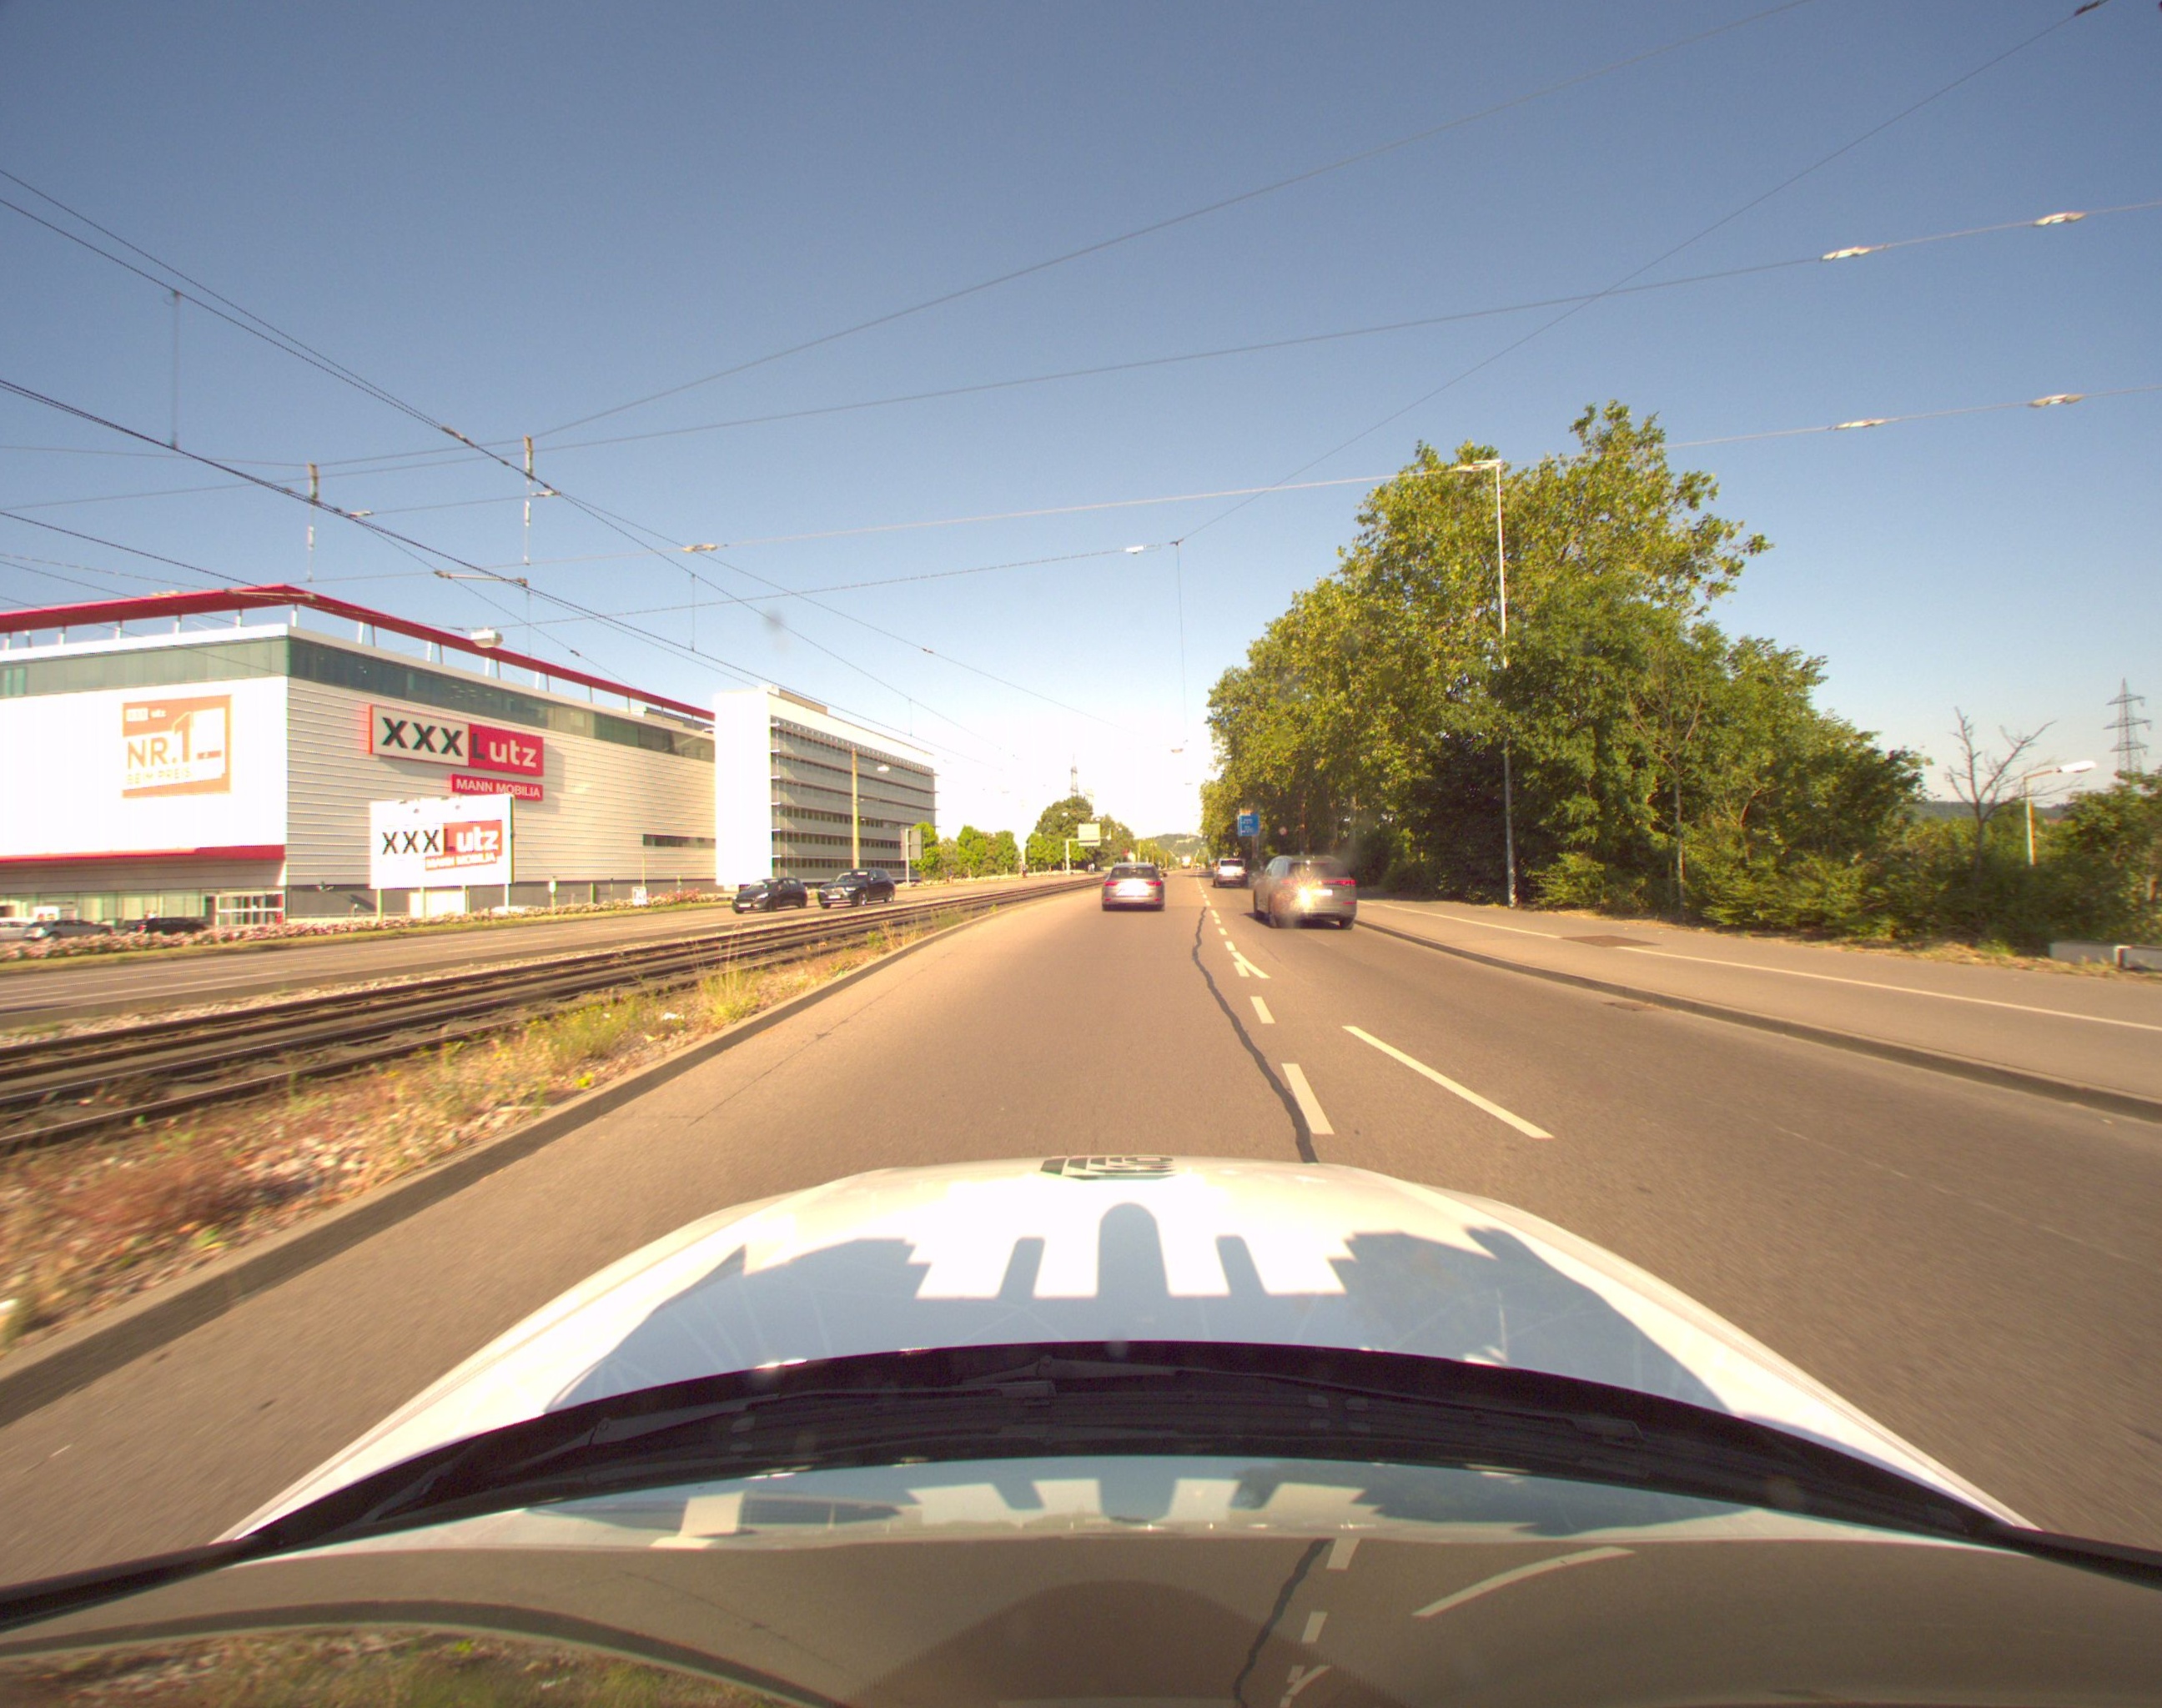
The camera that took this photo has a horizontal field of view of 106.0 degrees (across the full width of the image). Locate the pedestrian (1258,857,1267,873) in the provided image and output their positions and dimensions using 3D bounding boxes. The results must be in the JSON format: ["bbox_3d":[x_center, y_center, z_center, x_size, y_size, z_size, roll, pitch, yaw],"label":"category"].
[{"bbox_3d":[17.449,1.038,78.120,0.719,1.480,0.723,-2,-1,8],"label":"pedestrian"}]

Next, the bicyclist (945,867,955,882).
[{"bbox_3d":[-13.794,2.133,85.748,0.699,1.512,0.974,1,-1,15],"label":"bicyclist"}]

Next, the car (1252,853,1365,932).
[{"bbox_3d":[5.240,0.821,19.327,1.835,1.661,4.446,0,0,6],"label":"car"}]

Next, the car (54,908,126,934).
[{"bbox_3d":[-79.340,5.350,65.231,1.496,1.855,3.299,1,0,11],"label":"car"}]

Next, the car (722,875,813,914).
[{"bbox_3d":[-13.333,1.692,34.940,1.847,1.461,4.145,-2,-1,7],"label":"car"}]

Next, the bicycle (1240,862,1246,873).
[{"bbox_3d":[17.902,1.491,90.004,0.618,1.120,1.817,-2,-1,8],"label":"bicycle"}]

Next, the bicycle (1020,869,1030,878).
[{"bbox_3d":[-7.730,2.708,113.122,0.656,1.151,2.031,1,-1,18],"label":"bicycle"}]

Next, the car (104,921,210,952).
[{"bbox_3d":[-63.433,5.610,56.017,1.910,1.702,4.458,1,0,8],"label":"car"}]

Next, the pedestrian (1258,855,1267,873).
[{"bbox_3d":[17.662,0.938,79.323,0.718,1.708,0.815,-2,-1,8],"label":"pedestrian"}]

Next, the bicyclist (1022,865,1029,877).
[{"bbox_3d":[-7.738,2.303,113.088,0.656,1.623,0.805,1,-1,18],"label":"bicyclist"}]

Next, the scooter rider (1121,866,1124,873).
[{"bbox_3d":[10.800,4.121,212.516,0.677,1.848,1.005,-2,-2,16],"label":"scooter rider"}]

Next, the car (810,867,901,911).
[{"bbox_3d":[-9.754,1.470,35.609,1.981,1.655,4.670,-2,-1,9],"label":"car"}]

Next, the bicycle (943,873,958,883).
[{"bbox_3d":[-13.753,2.542,85.914,0.699,1.073,2.035,1,0,16],"label":"bicycle"}]

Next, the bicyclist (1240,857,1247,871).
[{"bbox_3d":[17.912,1.069,89.959,0.681,1.509,0.893,-1,-1,8],"label":"bicyclist"}]

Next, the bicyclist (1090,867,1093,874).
[{"bbox_3d":[2.053,3.218,159.758,0.621,1.374,0.882,1,-1,9],"label":"bicyclist"}]

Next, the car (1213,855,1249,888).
[{"bbox_3d":[8.597,0.976,46.846,1.873,1.796,4.009,1,0,8],"label":"car"}]

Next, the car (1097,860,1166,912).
[{"bbox_3d":[1.664,0.932,25.370,1.856,1.467,4.675,0,-1,7],"label":"car"}]

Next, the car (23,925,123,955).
[{"bbox_3d":[-71.715,6.071,58.009,1.910,1.702,4.009,1,0,8],"label":"car"}]
